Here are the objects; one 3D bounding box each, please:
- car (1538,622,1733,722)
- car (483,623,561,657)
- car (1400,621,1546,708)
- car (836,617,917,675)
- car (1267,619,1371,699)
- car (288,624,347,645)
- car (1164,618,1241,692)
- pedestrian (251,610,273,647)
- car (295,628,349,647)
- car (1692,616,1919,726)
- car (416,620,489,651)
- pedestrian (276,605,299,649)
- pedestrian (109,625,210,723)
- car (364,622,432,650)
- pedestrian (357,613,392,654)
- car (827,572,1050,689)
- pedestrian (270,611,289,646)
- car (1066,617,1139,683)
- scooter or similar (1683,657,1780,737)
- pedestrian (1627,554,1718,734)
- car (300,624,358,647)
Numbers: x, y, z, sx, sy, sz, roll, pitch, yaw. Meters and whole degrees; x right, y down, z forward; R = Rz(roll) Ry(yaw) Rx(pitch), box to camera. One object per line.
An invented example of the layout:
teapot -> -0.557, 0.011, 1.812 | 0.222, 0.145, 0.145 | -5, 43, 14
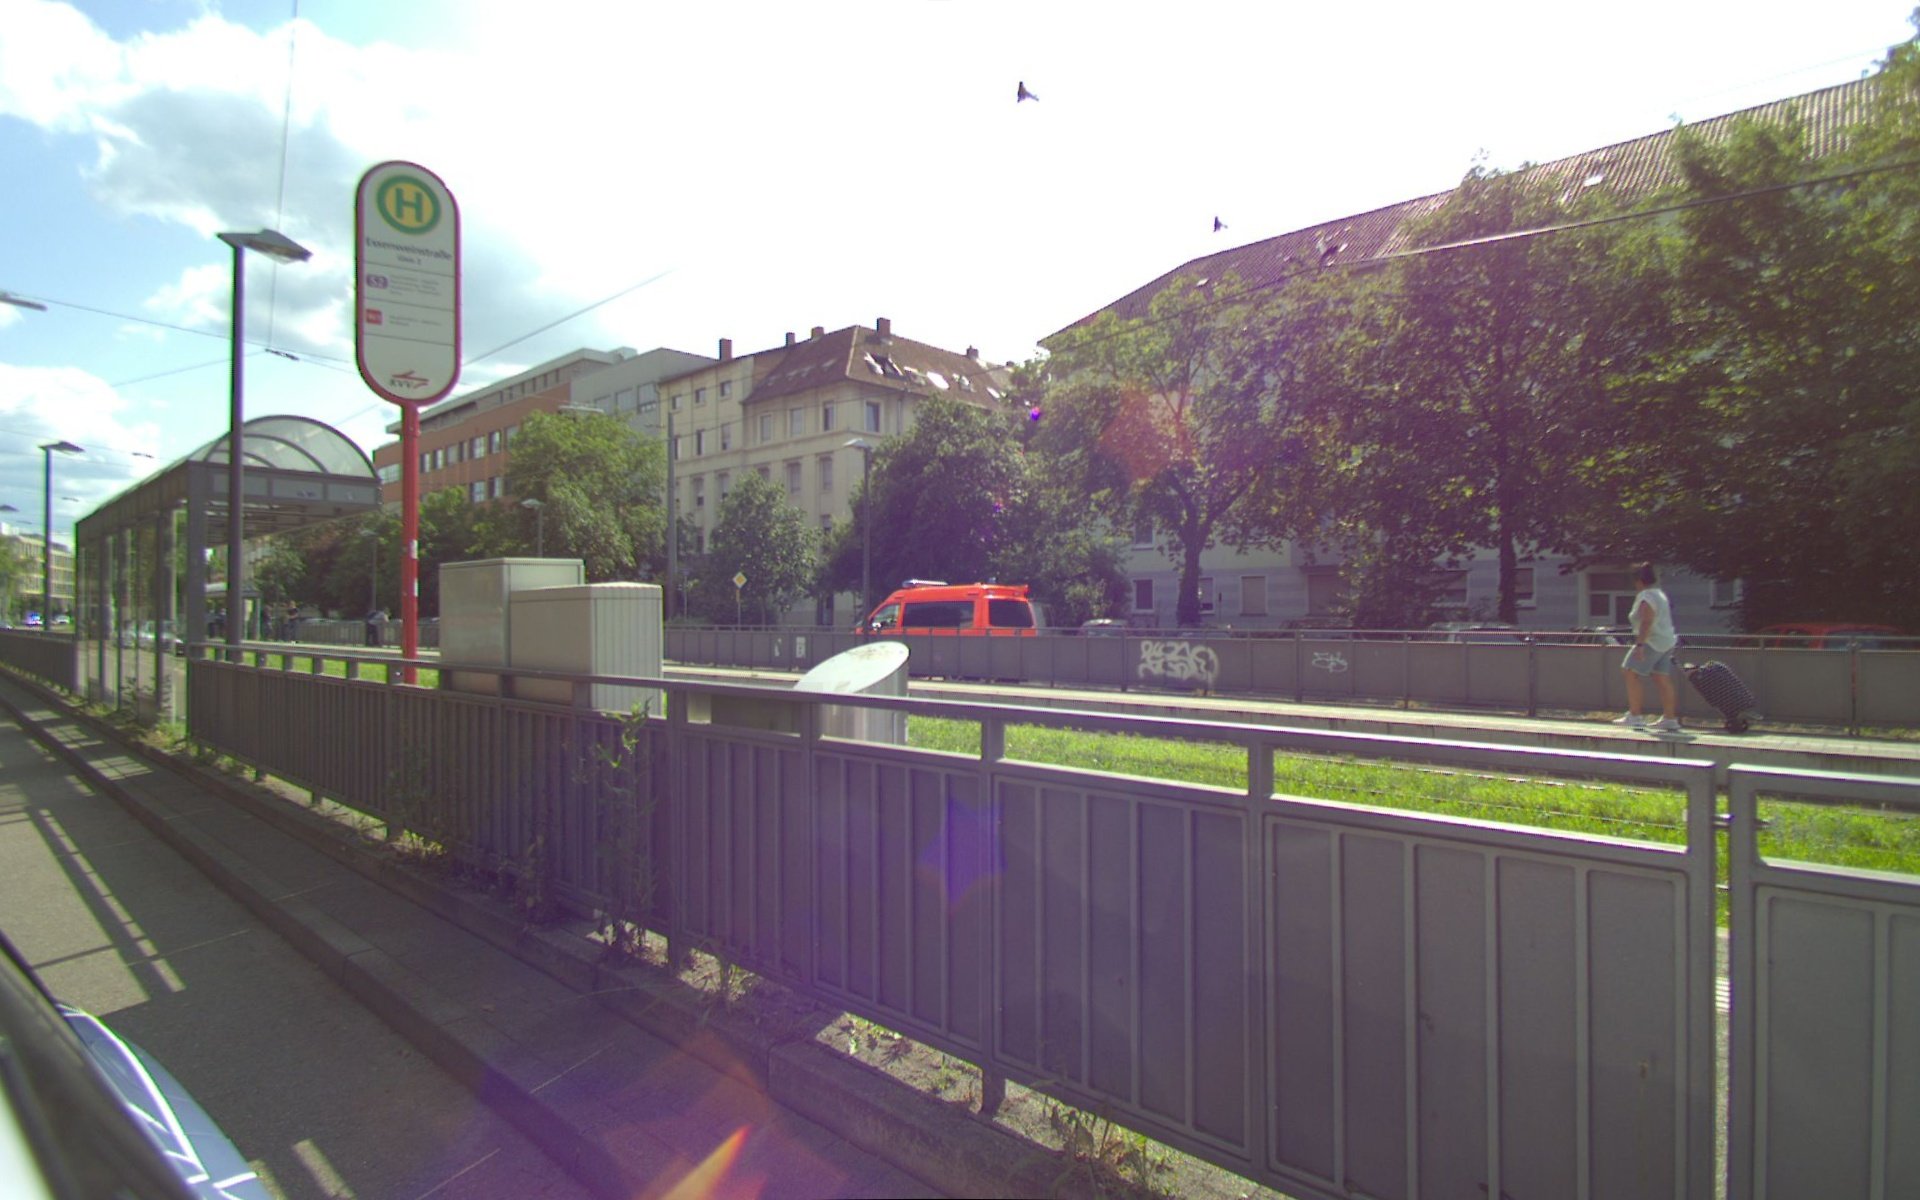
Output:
car -> 11.908, 1.192, 18.126 | 1.632, 1.591, 3.652 | -1, -1, 12
car -> -21.544, 1.947, 49.980 | 1.901, 1.576, 4.150 | 1, -1, 2
car -> 9.852, 1.170, 19.738 | 1.593, 1.525, 4.011 | 0, -1, 13
car -> -2.545, 1.401, 31.840 | 1.805, 1.652, 3.992 | -2, -1, 6
car -> 7.740, 1.226, 22.106 | 1.632, 1.591, 3.652 | -1, -1, 12
car -> -47.973, 2.561, 75.699 | 1.631, 1.508, 3.993 | -1, -1, 6
car -> 5.685, 1.243, 23.963 | 1.632, 1.591, 3.652 | -1, -1, 12
pedestrian -> -33.276, 1.354, 48.239 | 0.599, 1.767, 0.626 | 0, -1, -7
car -> -45.817, 2.677, 72.722 | 1.585, 1.314, 3.244 | -1, -1, 8
car -> 13.826, 1.064, 16.548 | 1.632, 1.591, 3.652 | -1, -1, 12
car -> -28.405, 1.962, 56.810 | 1.811, 1.652, 4.132 | 1, -1, 3
pedestrian -> -29.912, 1.204, 45.015 | 0.742, 1.906, 0.639 | 1, 1, -45
pedestrian -> -9.196, 0.838, 11.658 | 0.652, 1.080, 0.725 | 0, -2, -13
car -> -34.722, 2.207, 62.650 | 1.652, 1.540, 3.992 | -2, 0, 6
pedestrian -> -22.829, 1.297, 39.456 | 0.798, 1.590, 0.978 | -1, -1, 40
car -> -0.571, 0.682, 22.120 | 4.833, 2.293, 1.972 | -1, -4, 43
pedestrian -> -32.733, 1.367, 48.677 | 0.625, 1.687, 0.600 | -1, -1, 43
car -> 3.803, 1.256, 26.518 | 1.701, 1.591, 3.937 | -1, -1, 11
scooter or similar -> 7.428, 0.919, 9.754 | 0.700, 0.704, 0.438 | -1, -2, 42
pedestrian -> 6.975, 0.416, 9.905 | 0.632, 1.677, 0.653 | -1, -2, 42
car -> -43.817, 2.478, 70.360 | 1.569, 1.431, 3.299 | -1, 1, 13
